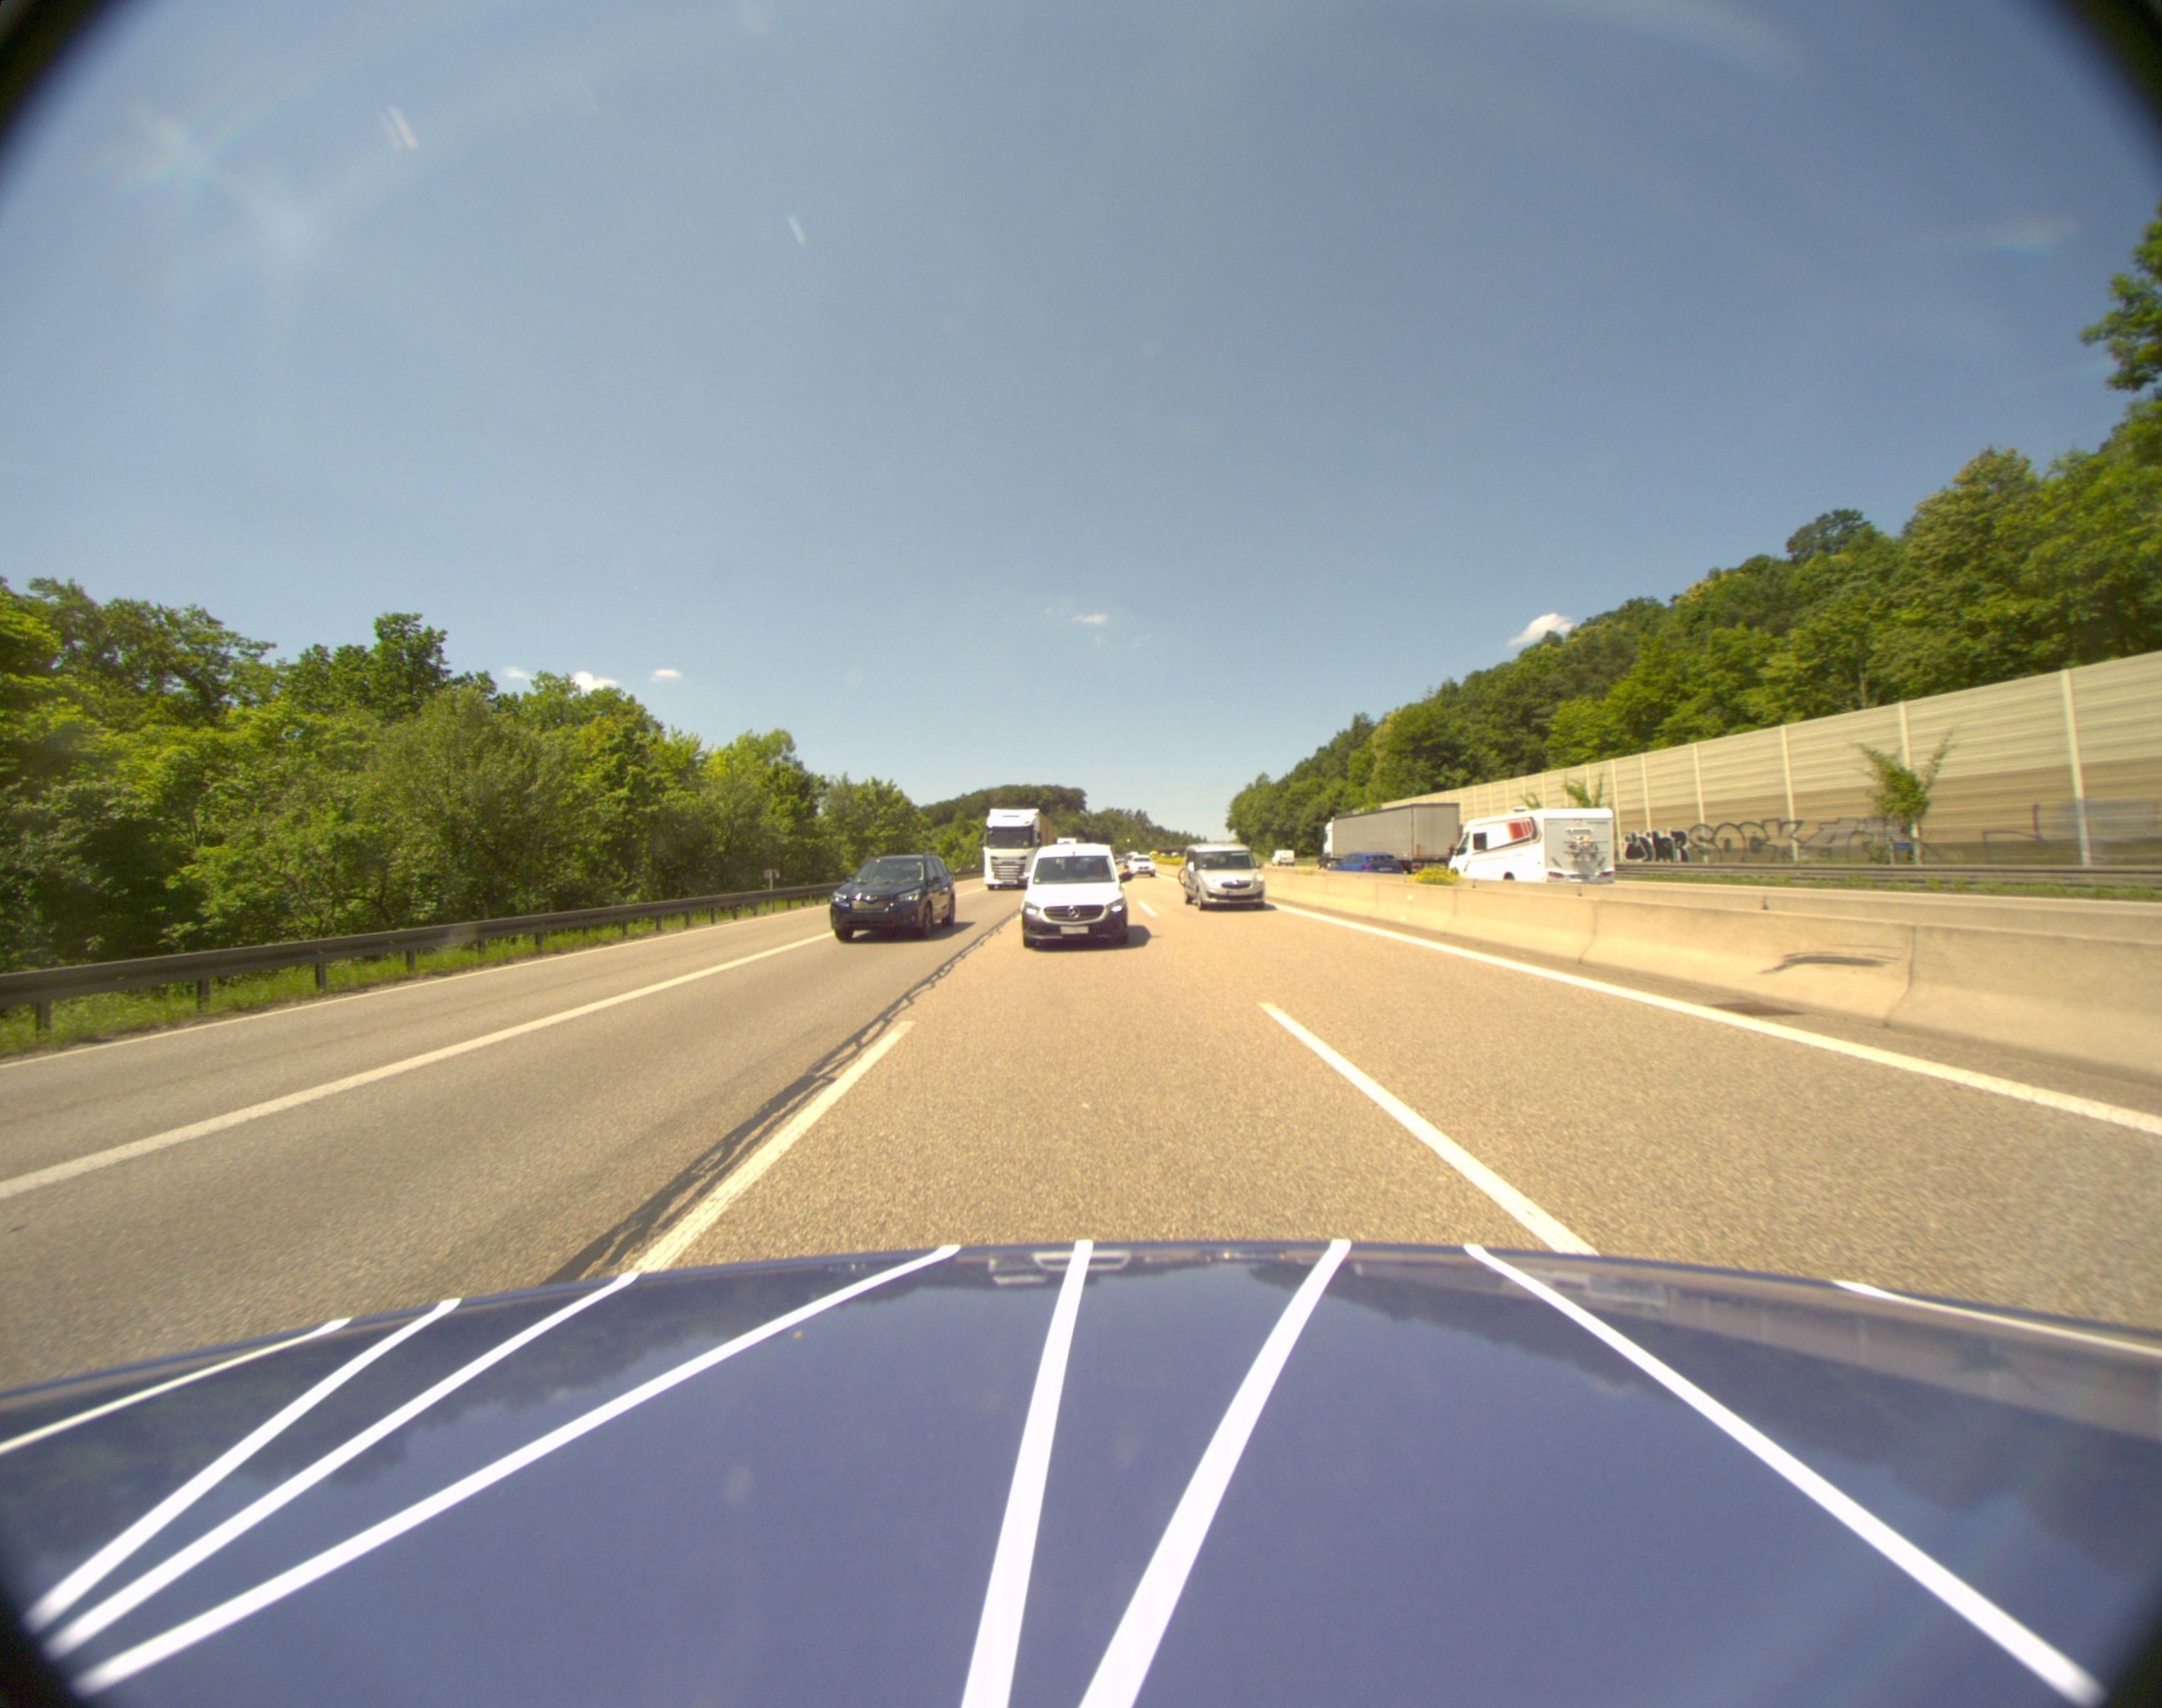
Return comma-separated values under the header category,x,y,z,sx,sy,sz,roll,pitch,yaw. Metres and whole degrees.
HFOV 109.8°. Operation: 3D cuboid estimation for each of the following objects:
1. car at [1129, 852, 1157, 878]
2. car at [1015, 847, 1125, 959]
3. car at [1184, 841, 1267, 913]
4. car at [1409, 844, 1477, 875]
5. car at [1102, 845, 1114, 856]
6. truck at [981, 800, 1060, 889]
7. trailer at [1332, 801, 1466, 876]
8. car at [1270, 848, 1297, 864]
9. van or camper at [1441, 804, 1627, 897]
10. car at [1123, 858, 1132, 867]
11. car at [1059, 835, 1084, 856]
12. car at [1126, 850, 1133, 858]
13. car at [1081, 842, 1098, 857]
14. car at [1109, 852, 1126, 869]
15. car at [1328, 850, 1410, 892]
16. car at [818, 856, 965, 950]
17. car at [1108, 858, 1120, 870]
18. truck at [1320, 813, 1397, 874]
category,x,y,z,sx,sy,sz,roll,pitch,yaw
car,4.704,0.829,58.044,1.998,1.827,4.001,-1,0,3
car,-0.056,0.777,14.384,1.729,1.760,4.313,-1,1,3
car,3.987,0.596,21.574,1.780,1.833,4.001,-1,0,3
car,22.505,0.323,47.462,1.814,1.800,5.107,-2,0,1
car,6.514,-0.929,180.262,2.721,2.534,5.941,-1,1,3
truck,-3.138,-0.463,44.488,2.789,4.144,16.268,-2,0,1
trailer,18.951,-0.898,46.733,2.819,3.885,13.827,-1,1,2
car,24.538,0.238,92.186,1.926,1.856,5.303,-1,1,1
van or camper,15.048,-0.135,25.934,2.275,2.720,6.805,-1,1,0
car,10.487,1.848,172.415,1.998,2.002,4.001,-1,0,2
car,-1.184,-1.061,95.679,2.721,2.534,5.941,-1,1,3
car,13.220,-0.046,207.124,1.678,2.002,3.906,-1,0,1
car,1.472,-0.860,133.963,2.721,2.534,5.941,-1,1,3
car,4.505,0.831,93.914,1.998,2.002,4.000,-1,0,1
car,11.584,0.644,30.846,1.715,1.529,4.128,-1,0,0
car,-3.844,0.925,16.220,1.816,1.658,4.204,-1,1,3
car,5.884,1.718,135.751,1.902,2.002,4.000,-1,0,1
truck,19.125,-0.736,52.816,2.819,3.886,7.315,-1,1,2
